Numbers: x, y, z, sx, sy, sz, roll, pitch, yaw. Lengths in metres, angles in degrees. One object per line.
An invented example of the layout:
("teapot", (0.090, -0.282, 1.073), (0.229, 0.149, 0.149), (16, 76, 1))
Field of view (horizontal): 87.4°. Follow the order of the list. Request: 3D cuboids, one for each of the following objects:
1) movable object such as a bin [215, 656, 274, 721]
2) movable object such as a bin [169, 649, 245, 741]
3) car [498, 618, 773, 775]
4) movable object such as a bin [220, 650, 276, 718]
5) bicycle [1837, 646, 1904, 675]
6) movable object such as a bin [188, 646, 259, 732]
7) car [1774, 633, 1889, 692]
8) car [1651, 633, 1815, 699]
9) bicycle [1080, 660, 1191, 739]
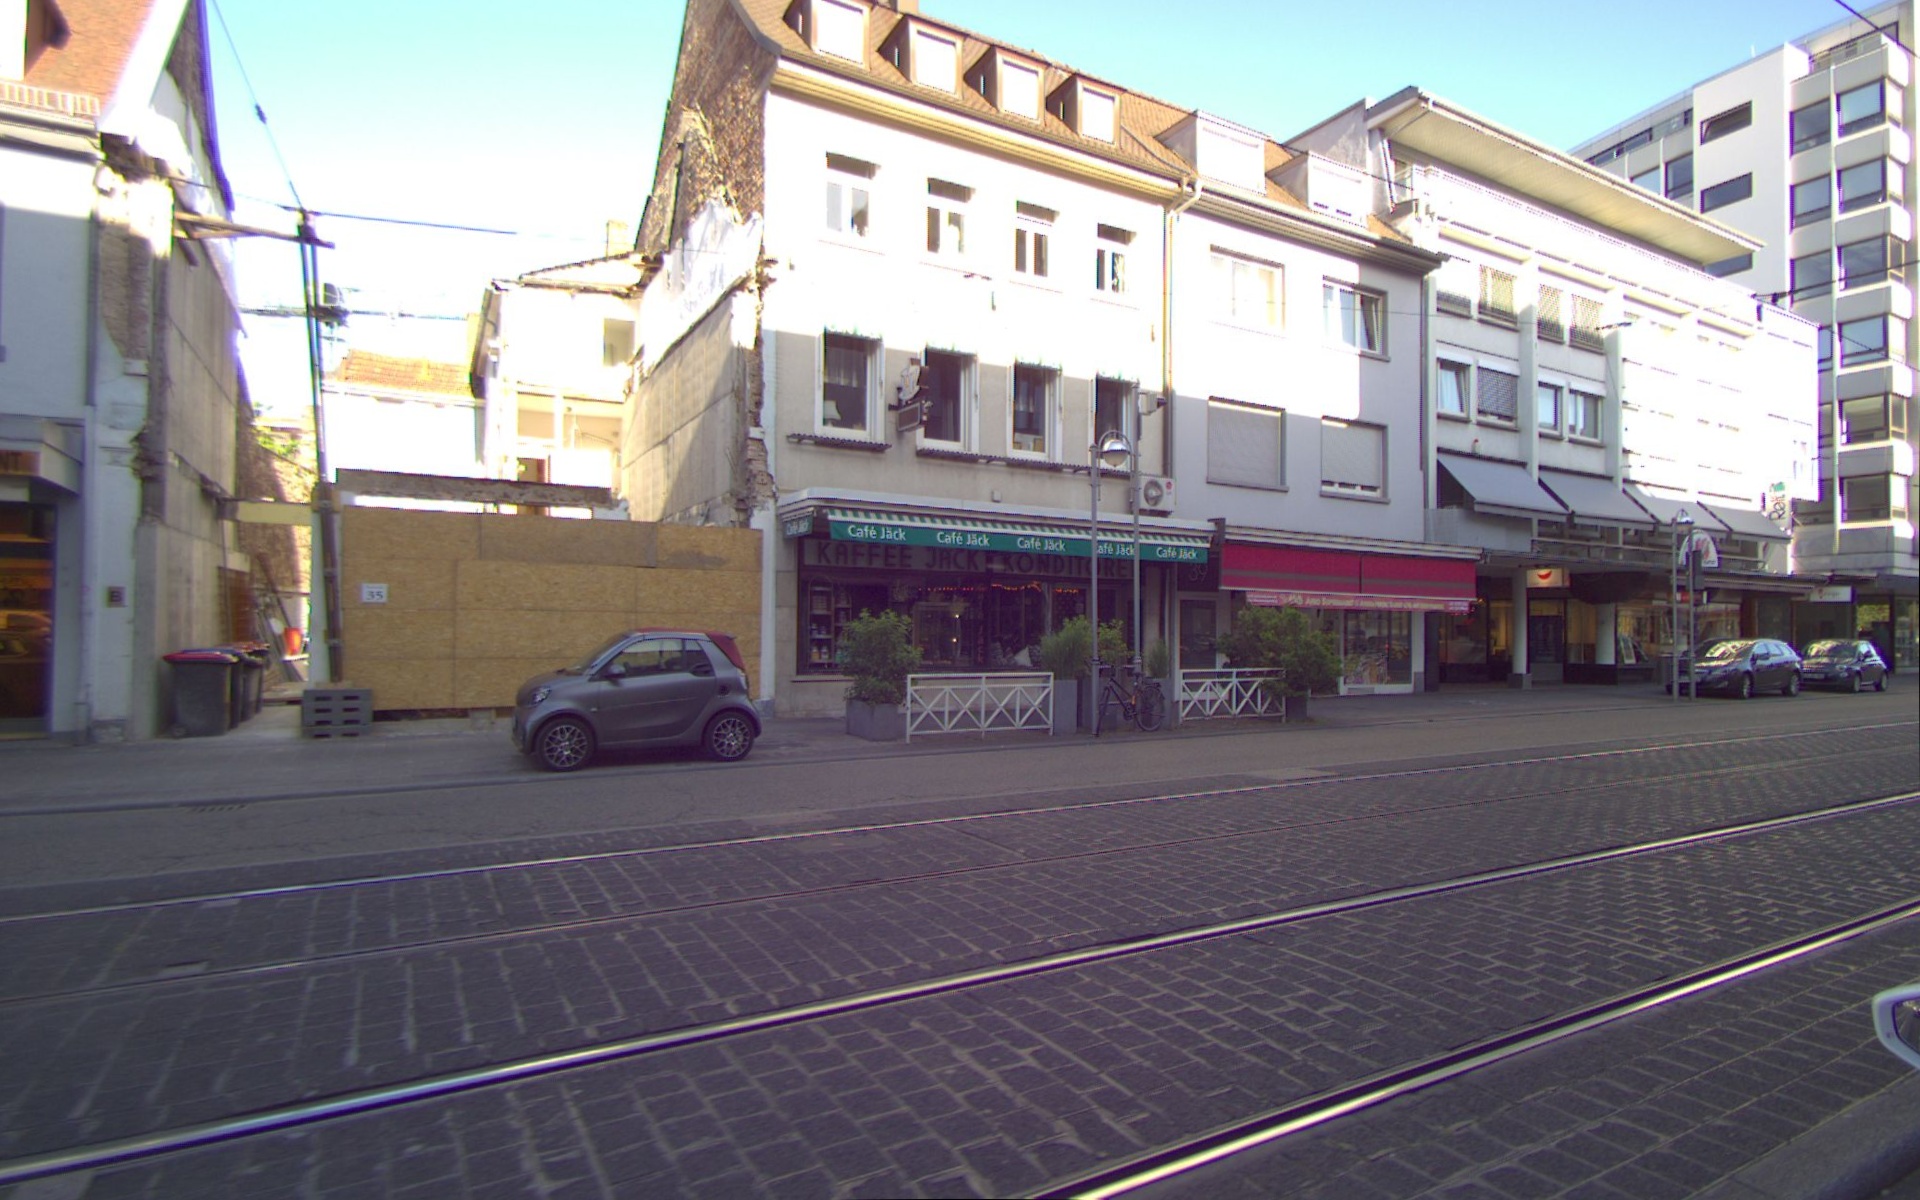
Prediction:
("movable object such as a bin", (-10.597, 1.302, 14.890), (0.637, 0.894, 0.596), (2, 0, -30))
("movable object such as a bin", (-9.757, 1.214, 13.039), (0.689, 1.108, 0.657), (2, 0, -30))
("car", (-3.914, 1.073, 12.111), (2.857, 1.625, 1.689), (2, 0, -30))
("movable object such as a bin", (-11.088, 1.294, 15.656), (0.637, 1.001, 0.596), (2, 0, -30))
("bicycle", (35.827, 2.353, 39.536), (0.376, 1.012, 1.928), (2, 0, -28))
("movable object such as a bin", (-10.096, 1.209, 13.799), (0.689, 1.108, 0.657), (2, 0, -30))
("car", (25.502, 1.802, 29.368), (3.551, 1.544, 1.591), (2, 0, -33))
("car", (20.564, 1.709, 26.674), (4.794, 1.544, 1.729), (2, 0, -30))
("bicycle", (2.671, 1.477, 15.209), (1.696, 1.105, 0.516), (2, 0, -30))
